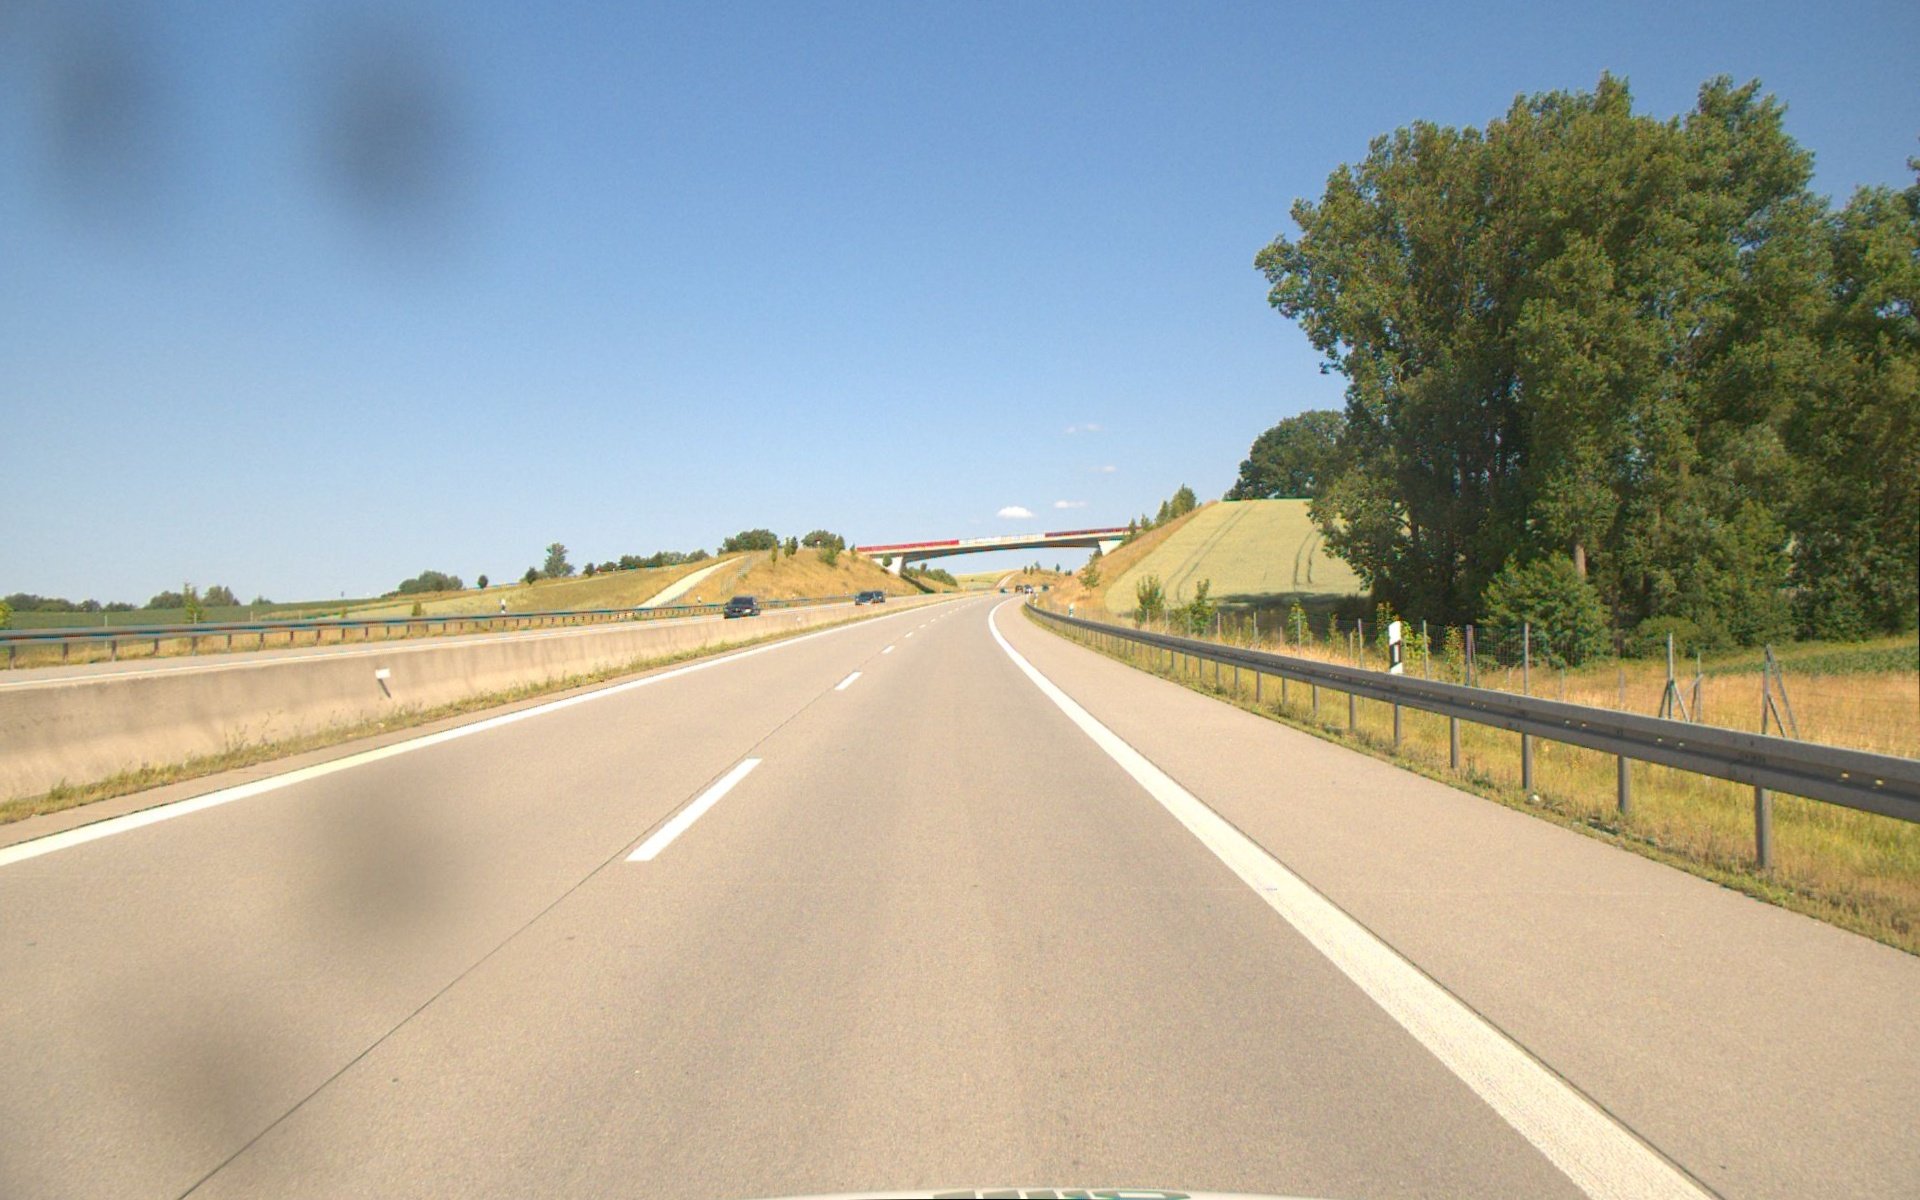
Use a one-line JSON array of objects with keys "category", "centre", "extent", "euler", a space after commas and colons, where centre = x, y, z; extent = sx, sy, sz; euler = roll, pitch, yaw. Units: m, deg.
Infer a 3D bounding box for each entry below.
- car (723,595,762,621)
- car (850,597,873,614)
[{"category": "car", "centre": [-13.212, 0.494, 100.682], "extent": [1.776, 1.482, 4.511], "euler": [1, 0, 0]}, {"category": "car", "centre": [-9.791, 0.546, 164.878], "extent": [1.775, 1.643, 4.677], "euler": [1, 0, 2]}]
